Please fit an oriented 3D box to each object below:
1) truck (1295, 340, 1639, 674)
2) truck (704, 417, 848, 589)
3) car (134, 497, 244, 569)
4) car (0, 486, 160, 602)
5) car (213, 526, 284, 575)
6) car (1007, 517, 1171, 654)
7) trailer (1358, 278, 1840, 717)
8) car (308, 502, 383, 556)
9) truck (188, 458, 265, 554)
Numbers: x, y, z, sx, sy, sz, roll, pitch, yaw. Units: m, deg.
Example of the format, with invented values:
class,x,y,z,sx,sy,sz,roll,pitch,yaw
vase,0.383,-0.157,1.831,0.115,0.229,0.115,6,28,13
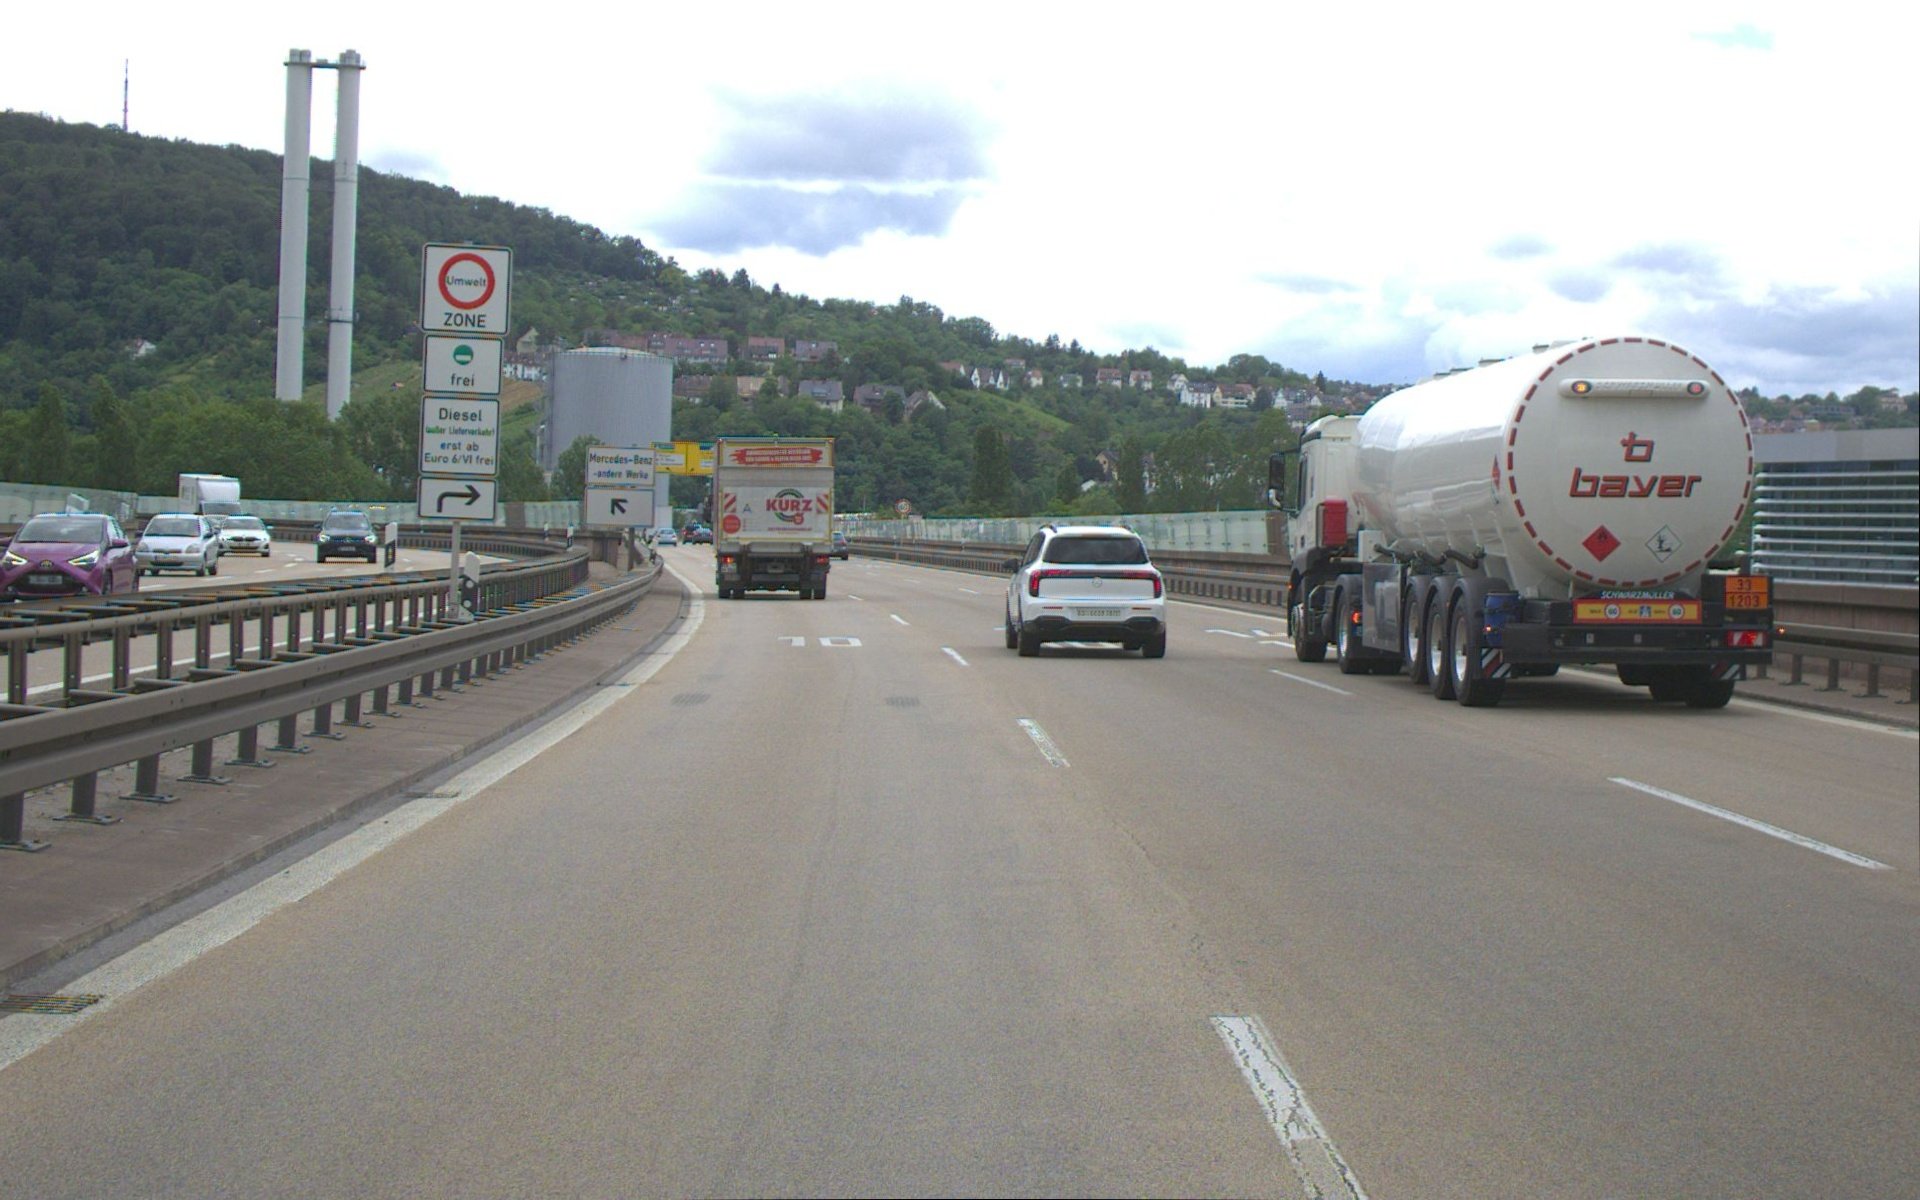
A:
class,x,y,z,sx,sy,sz,roll,pitch,yaw
truck,5.885,-1.049,40.981,3.014,3.644,6.274,1,0,-1
truck,-4.219,-2.139,78.368,3.056,3.678,8.305,1,1,-4
car,-18.542,-1.595,82.822,1.993,1.669,4.409,1,0,-5
car,-13.519,-0.839,52.352,1.993,1.669,4.409,1,0,-5
car,-25.352,-1.762,122.580,1.993,1.669,4.409,1,0,-6
car,1.628,-0.200,44.874,1.993,1.669,4.408,1,0,1
trailer,6.042,-0.930,34.059,3.057,3.777,8.304,1,1,-1
car,-19.840,-2.275,111.090,1.993,1.669,4.409,1,0,-6
truck,-35.966,-4.539,168.791,3.056,4.547,8.306,1,1,-8
